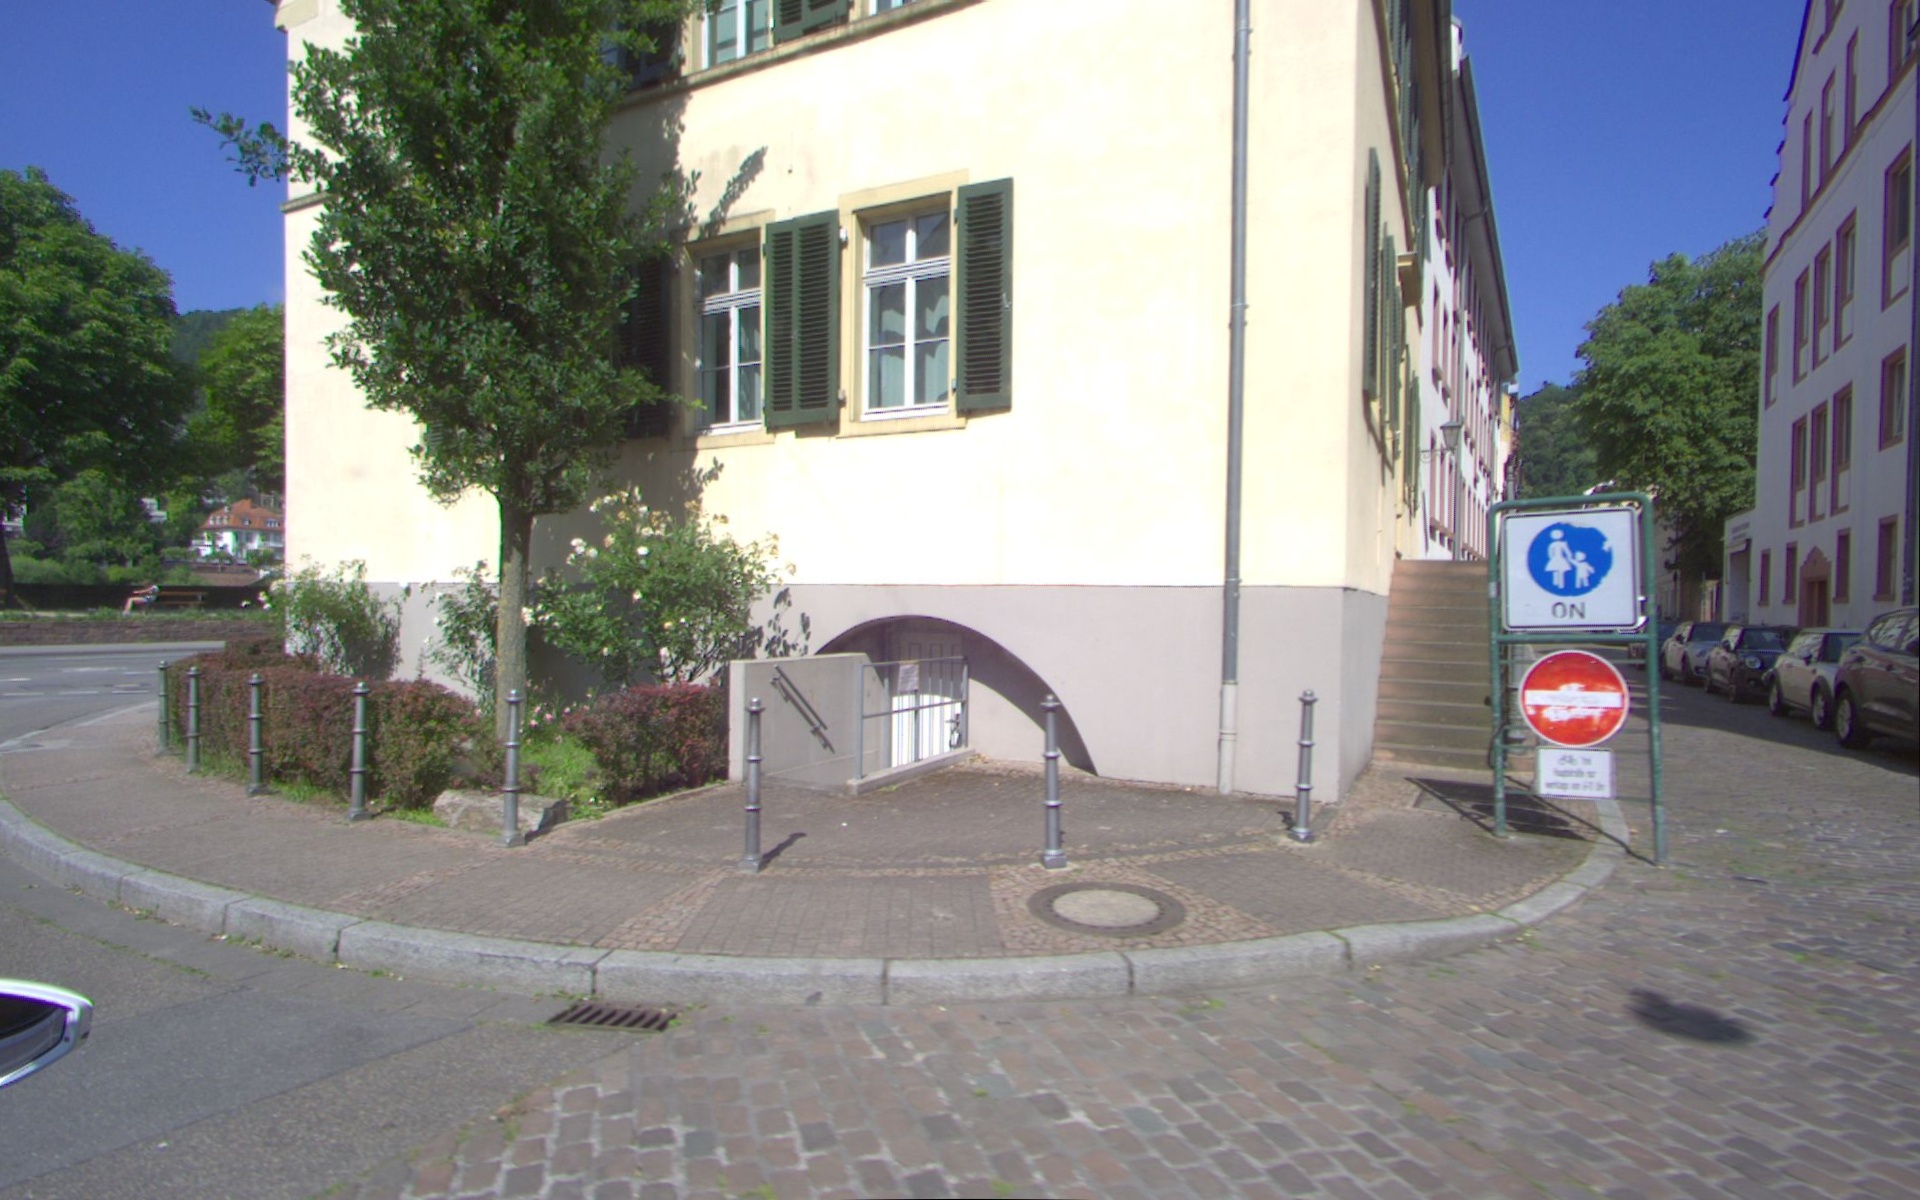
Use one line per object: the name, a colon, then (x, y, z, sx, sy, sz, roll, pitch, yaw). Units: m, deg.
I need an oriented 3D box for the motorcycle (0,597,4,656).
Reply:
motorcycle: (-23.452, 0.604, 22.710, 0.751, 1.394, 2.464, 1, 0, 24)

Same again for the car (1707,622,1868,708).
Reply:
car: (15.275, 1.128, 18.657, 1.685, 1.414, 3.321, 0, -1, 28)

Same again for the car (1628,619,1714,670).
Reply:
car: (21.001, 1.276, 29.694, 1.685, 1.414, 3.321, 0, -1, 28)

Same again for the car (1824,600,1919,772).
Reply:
car: (10.464, 0.841, 9.868, 1.968, 1.664, 3.987, 0, -1, 26)

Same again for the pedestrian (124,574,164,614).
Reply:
pedestrian: (-26.771, -0.176, 32.867, 0.705, 1.225, 0.797, -2, -4, 30)

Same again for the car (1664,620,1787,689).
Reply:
car: (17.145, 1.171, 22.580, 1.685, 1.414, 3.321, 0, -1, 28)

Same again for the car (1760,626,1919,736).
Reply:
car: (12.970, 1.085, 14.421, 1.685, 1.376, 3.321, 0, -1, 28)
